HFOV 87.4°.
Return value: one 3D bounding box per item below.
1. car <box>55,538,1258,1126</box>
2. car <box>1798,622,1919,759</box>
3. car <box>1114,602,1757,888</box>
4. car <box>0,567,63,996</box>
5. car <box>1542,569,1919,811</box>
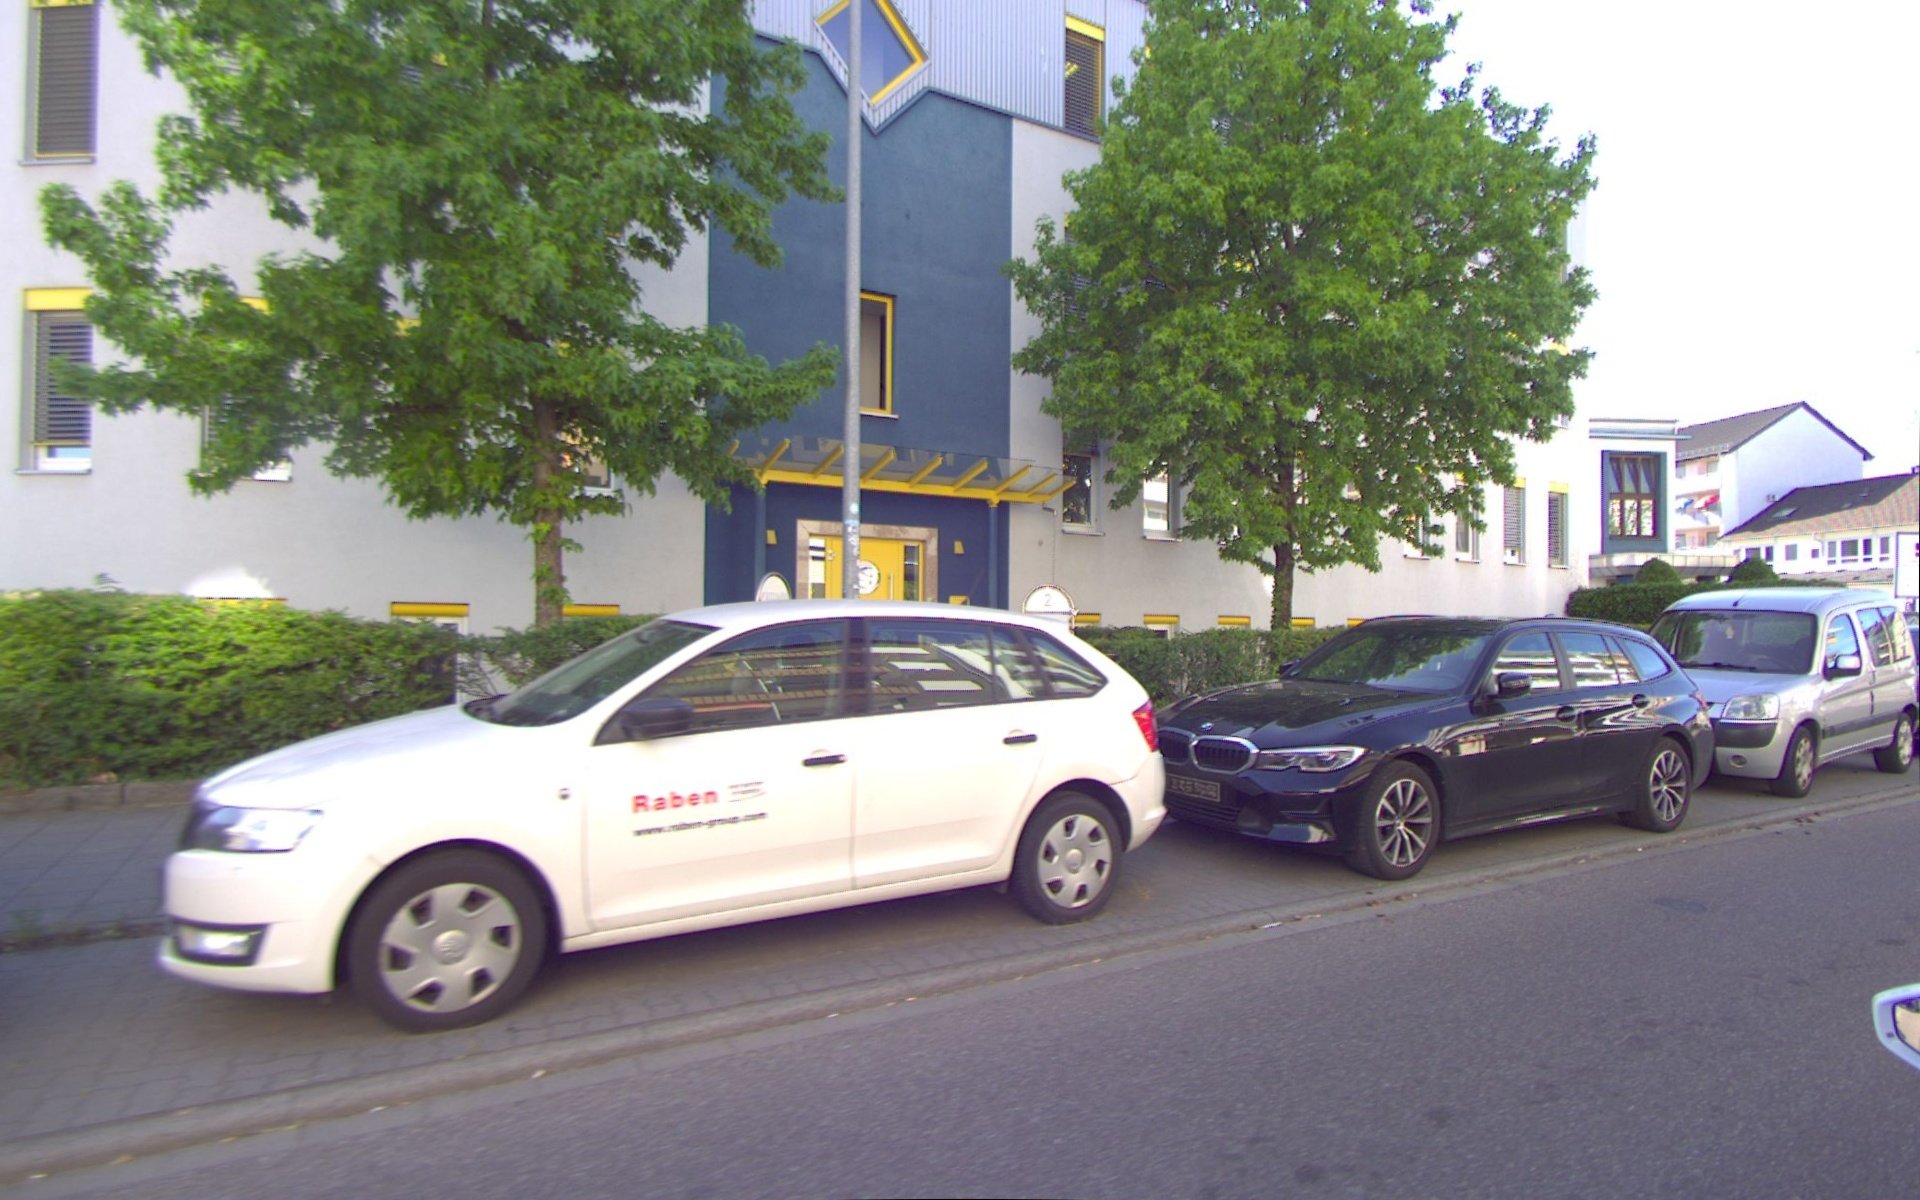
[{"bbox_3d":[-0.919,0.697,4.689,4.573,1.550,1.898,2,-2,-32],"label":"car"},{"bbox_3d":[11.805,1.019,12.045,3.956,1.459,1.589,1,-1,-33],"label":"car"},{"bbox_3d":[3.420,0.801,6.997,4.555,1.458,1.725,1,-2,-29],"label":"car"},{"bbox_3d":[-5.040,0.568,2.142,4.332,1.498,1.898,2,-2,-32],"label":"car"},{"bbox_3d":[7.582,0.740,9.645,4.294,1.863,1.678,1,-1,-33],"label":"car"}]
